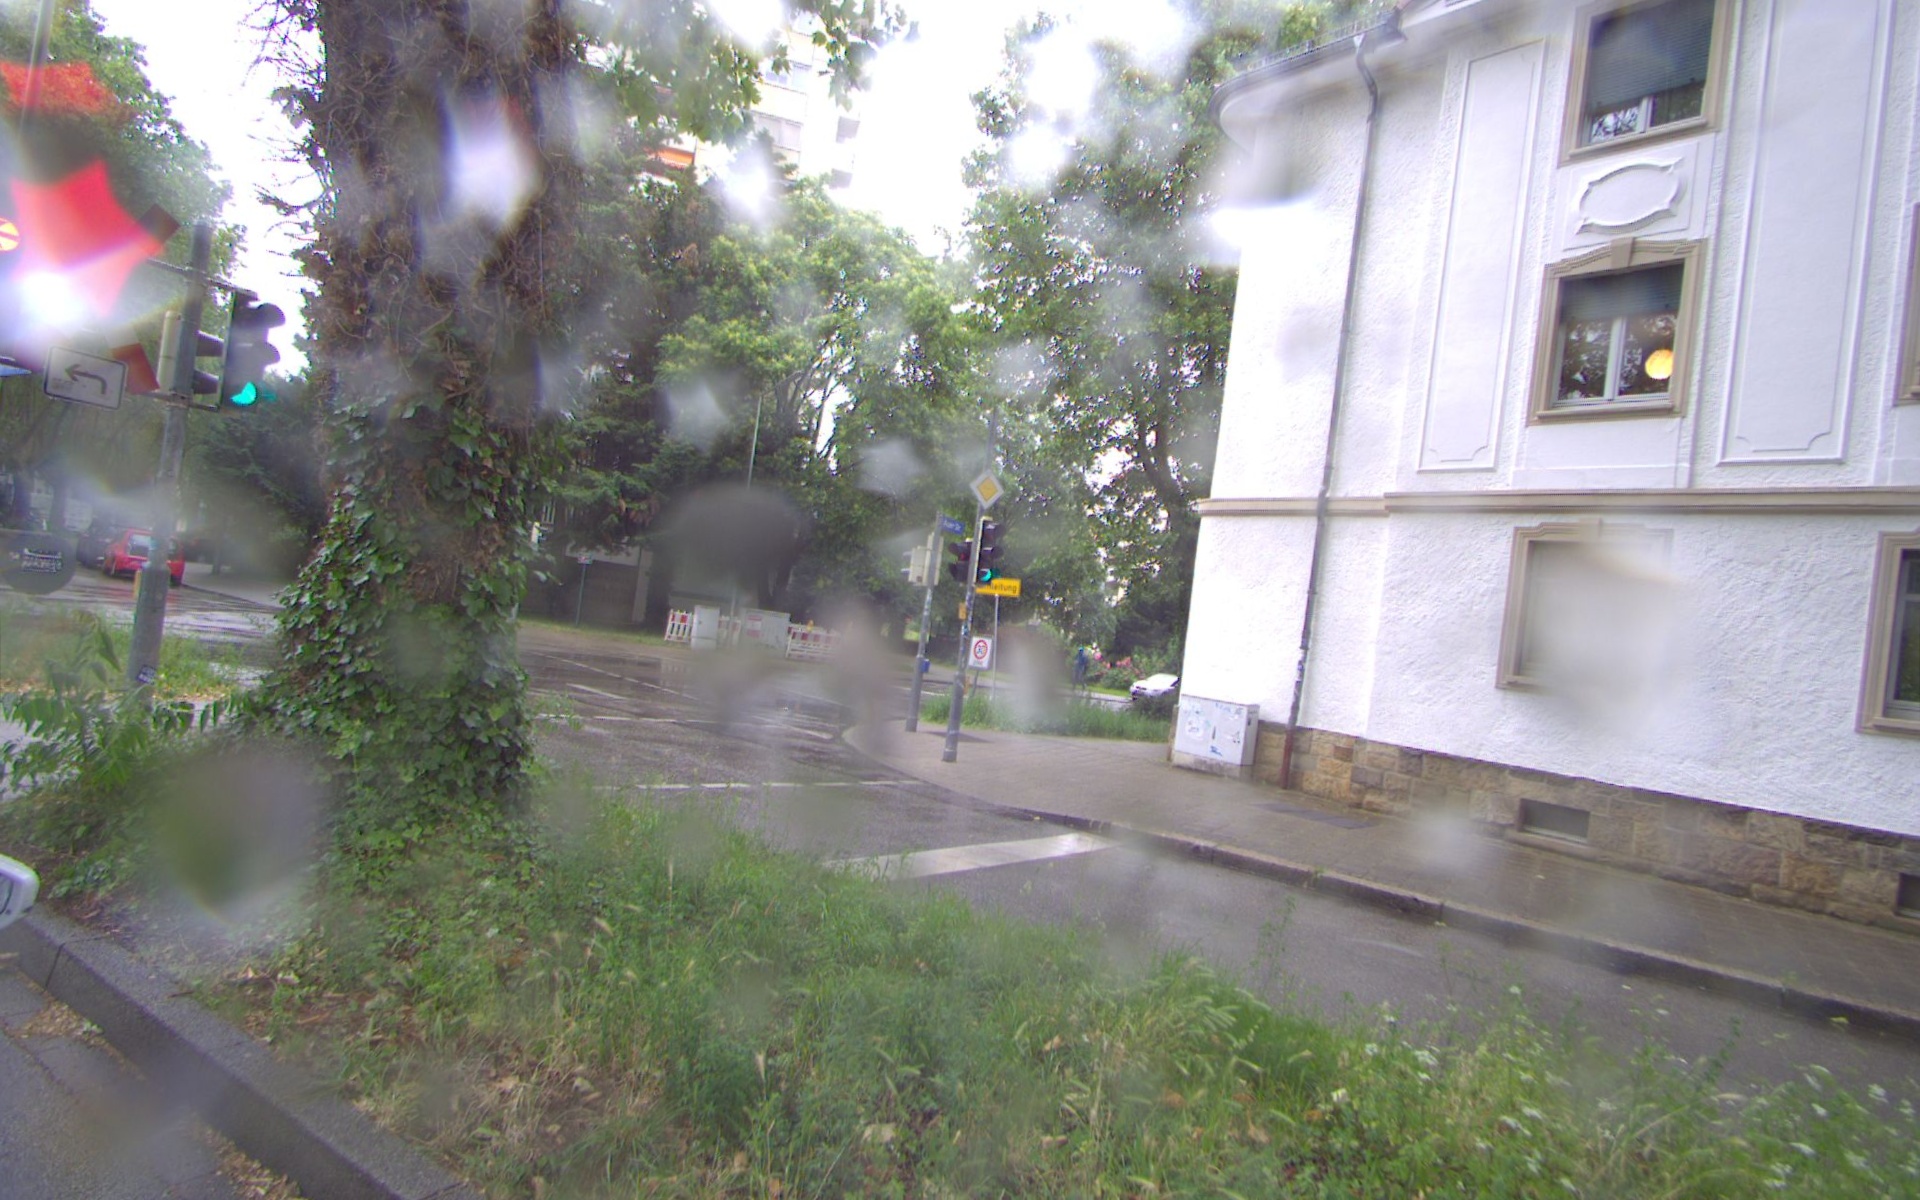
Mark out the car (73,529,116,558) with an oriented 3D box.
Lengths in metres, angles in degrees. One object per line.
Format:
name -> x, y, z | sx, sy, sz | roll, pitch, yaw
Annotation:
car -> -53.934, -3.511, 62.744 | 1.673, 1.491, 3.626 | 9, -2, -37

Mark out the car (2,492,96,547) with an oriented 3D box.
car -> -61.109, -5.396, 67.527 | 4.680, 2.982, 2.043 | 7, -1, 12

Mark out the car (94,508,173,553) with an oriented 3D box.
car -> -69.649, -5.846, 84.807 | 4.683, 2.982, 2.001 | 7, -1, 1

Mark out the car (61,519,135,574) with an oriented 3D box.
car -> -32.979, -2.081, 38.452 | 1.779, 1.747, 3.951 | 9, -2, -44

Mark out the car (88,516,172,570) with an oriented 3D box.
car -> -28.093, -1.940, 33.998 | 1.780, 1.363, 3.879 | 10, -2, -44

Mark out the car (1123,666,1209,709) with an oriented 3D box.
car -> 9.414, 4.003, 45.808 | 1.829, 1.473, 3.979 | 6, -3, 45

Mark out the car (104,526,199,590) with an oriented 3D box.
car -> -24.826, -1.311, 30.842 | 1.788, 1.515, 3.950 | 10, -2, -44

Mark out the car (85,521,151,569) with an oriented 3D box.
car -> -38.721, -2.555, 46.226 | 1.918, 1.826, 3.951 | 9, -2, -44

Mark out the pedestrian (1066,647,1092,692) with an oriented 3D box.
pedestrian -> 5.250, 3.053, 44.384 | 0.670, 1.863, 0.713 | 6, -1, 44

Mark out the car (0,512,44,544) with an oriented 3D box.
car -> -56.202, -4.381, 58.624 | 1.974, 1.565, 3.980 | 6, -3, 44
